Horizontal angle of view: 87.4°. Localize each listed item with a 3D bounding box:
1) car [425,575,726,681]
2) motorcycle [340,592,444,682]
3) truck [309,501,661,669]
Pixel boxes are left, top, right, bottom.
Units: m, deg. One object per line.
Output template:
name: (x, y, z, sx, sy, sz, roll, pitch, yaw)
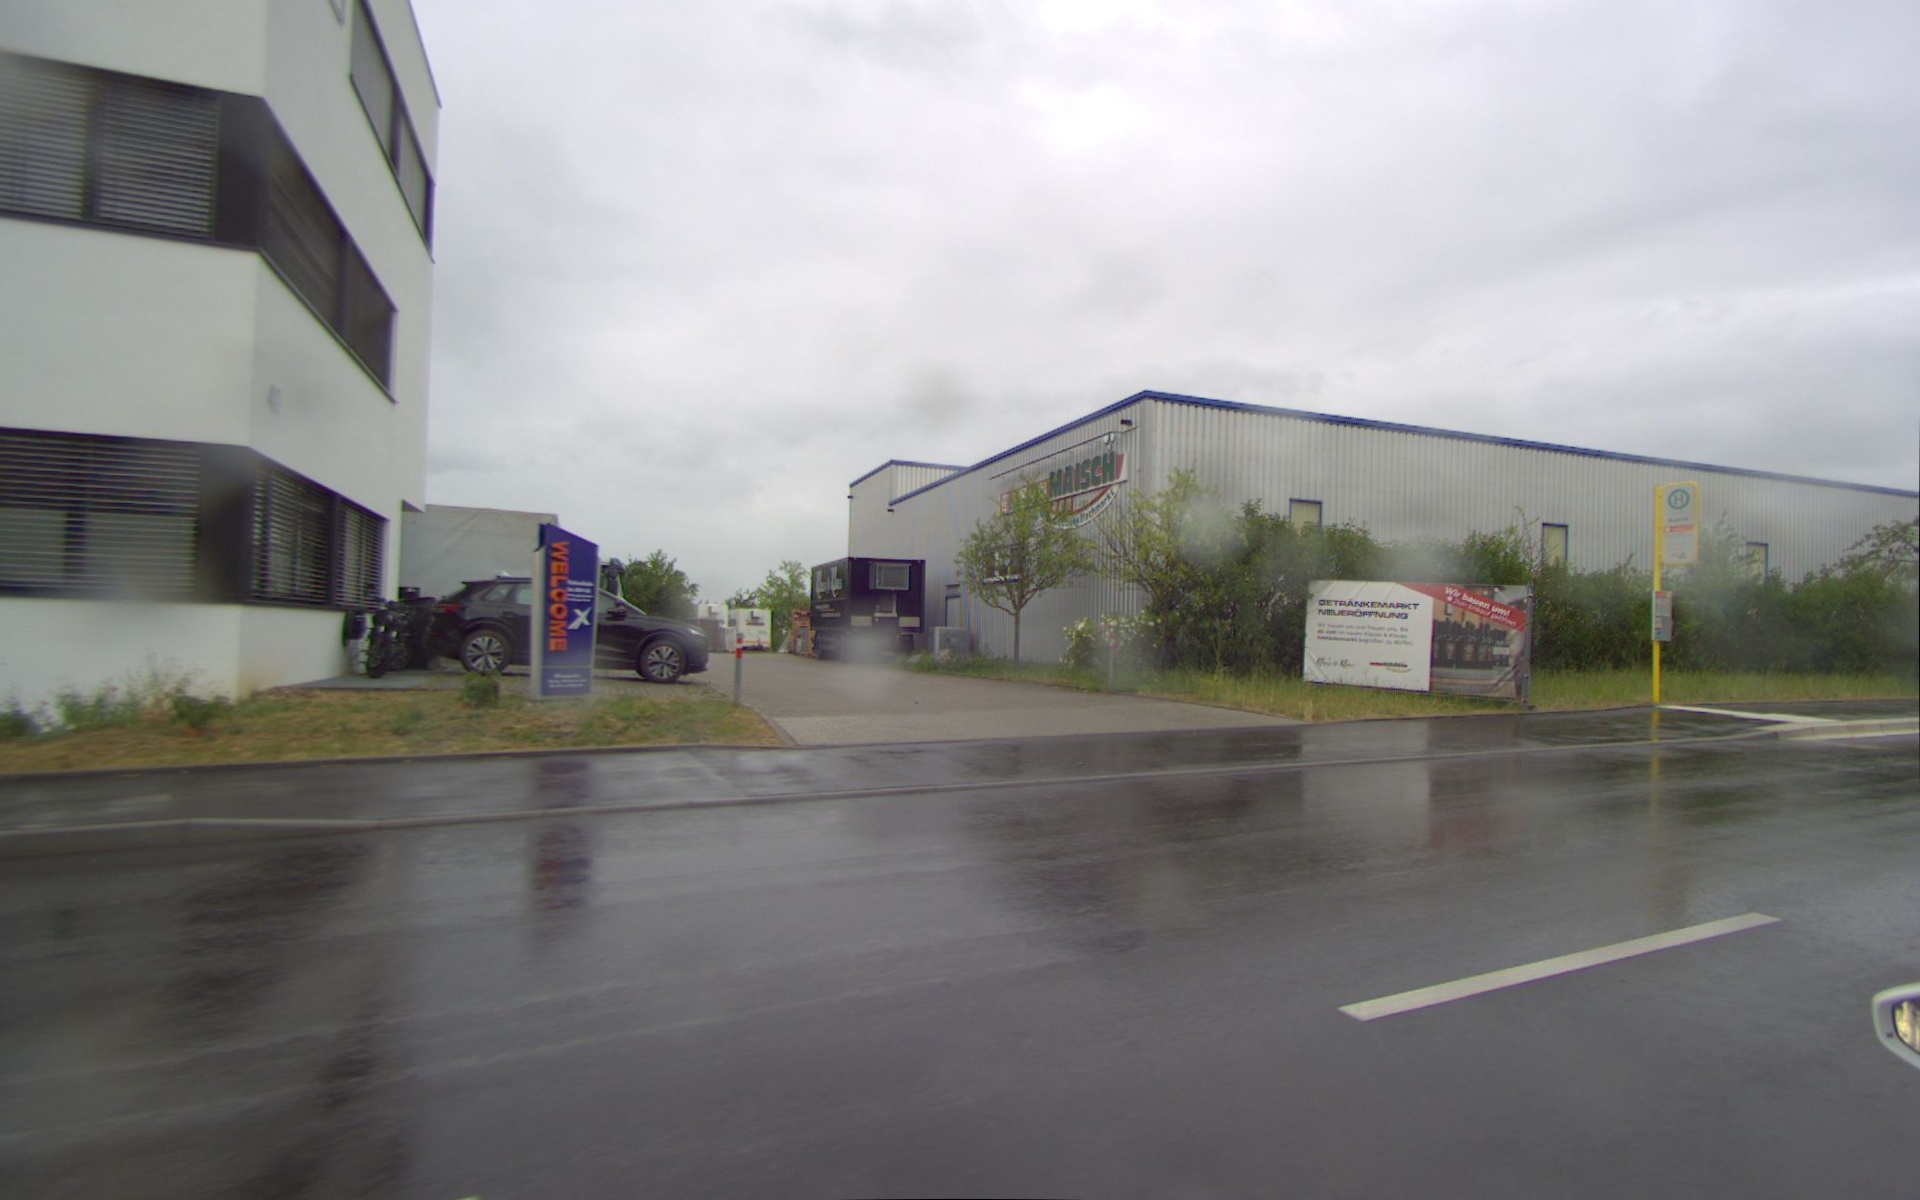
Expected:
car: (-6.451, 0.470, 17.114, 4.542, 1.617, 1.847, 1, 0, -24)
motorcycle: (-8.913, 0.532, 15.921, 0.765, 1.261, 3.680, 1, -1, -19)
truck: (-11.096, -0.234, 24.232, 7.226, 3.624, 2.666, 1, 0, -21)
